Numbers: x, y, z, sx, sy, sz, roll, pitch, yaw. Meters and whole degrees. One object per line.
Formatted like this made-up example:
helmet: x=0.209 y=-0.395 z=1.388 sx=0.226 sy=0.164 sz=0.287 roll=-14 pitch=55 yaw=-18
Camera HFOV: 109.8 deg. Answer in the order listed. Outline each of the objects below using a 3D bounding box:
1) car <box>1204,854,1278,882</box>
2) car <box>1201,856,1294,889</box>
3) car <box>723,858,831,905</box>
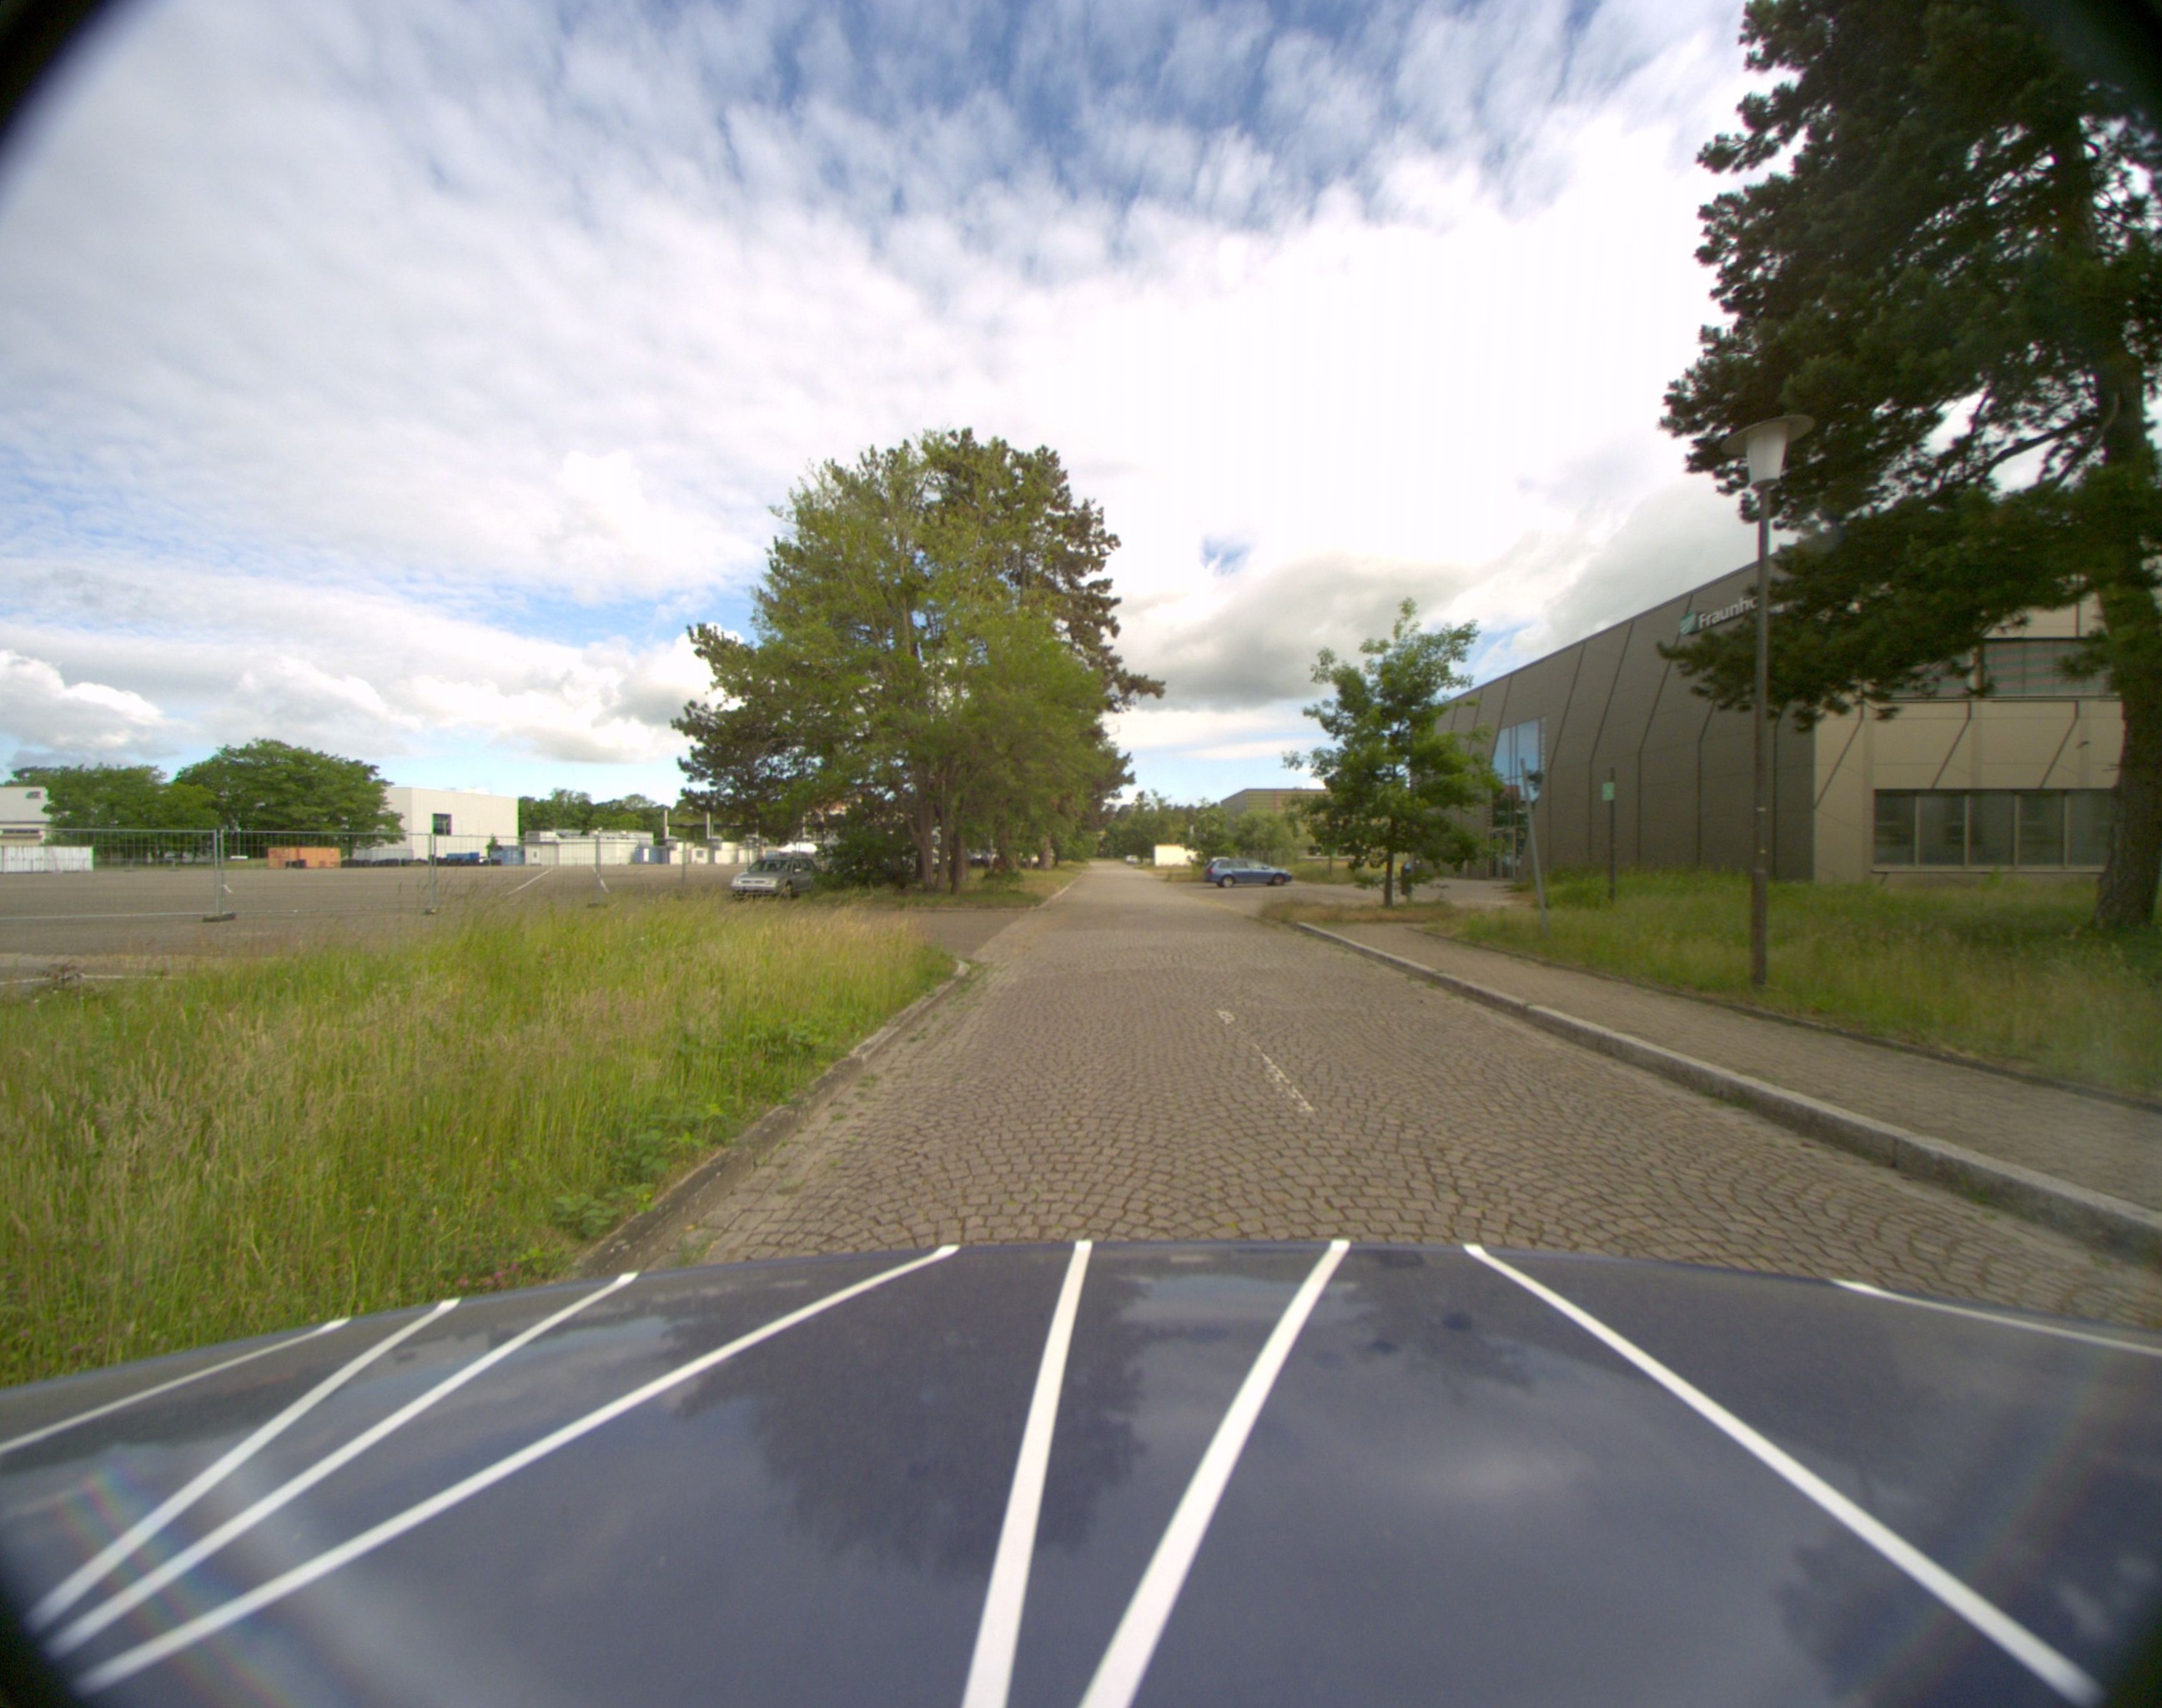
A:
car: x=9.912 y=0.846 z=47.360 sx=4.400 sy=1.537 sz=1.842 roll=-2 pitch=0 yaw=8
car: x=8.695 y=0.951 z=39.895 sx=4.403 sy=1.501 sz=1.717 roll=-2 pitch=0 yaw=-1
car: x=-10.233 y=0.860 z=25.936 sx=1.759 sy=1.440 sz=4.328 roll=0 pitch=0 yaw=3
